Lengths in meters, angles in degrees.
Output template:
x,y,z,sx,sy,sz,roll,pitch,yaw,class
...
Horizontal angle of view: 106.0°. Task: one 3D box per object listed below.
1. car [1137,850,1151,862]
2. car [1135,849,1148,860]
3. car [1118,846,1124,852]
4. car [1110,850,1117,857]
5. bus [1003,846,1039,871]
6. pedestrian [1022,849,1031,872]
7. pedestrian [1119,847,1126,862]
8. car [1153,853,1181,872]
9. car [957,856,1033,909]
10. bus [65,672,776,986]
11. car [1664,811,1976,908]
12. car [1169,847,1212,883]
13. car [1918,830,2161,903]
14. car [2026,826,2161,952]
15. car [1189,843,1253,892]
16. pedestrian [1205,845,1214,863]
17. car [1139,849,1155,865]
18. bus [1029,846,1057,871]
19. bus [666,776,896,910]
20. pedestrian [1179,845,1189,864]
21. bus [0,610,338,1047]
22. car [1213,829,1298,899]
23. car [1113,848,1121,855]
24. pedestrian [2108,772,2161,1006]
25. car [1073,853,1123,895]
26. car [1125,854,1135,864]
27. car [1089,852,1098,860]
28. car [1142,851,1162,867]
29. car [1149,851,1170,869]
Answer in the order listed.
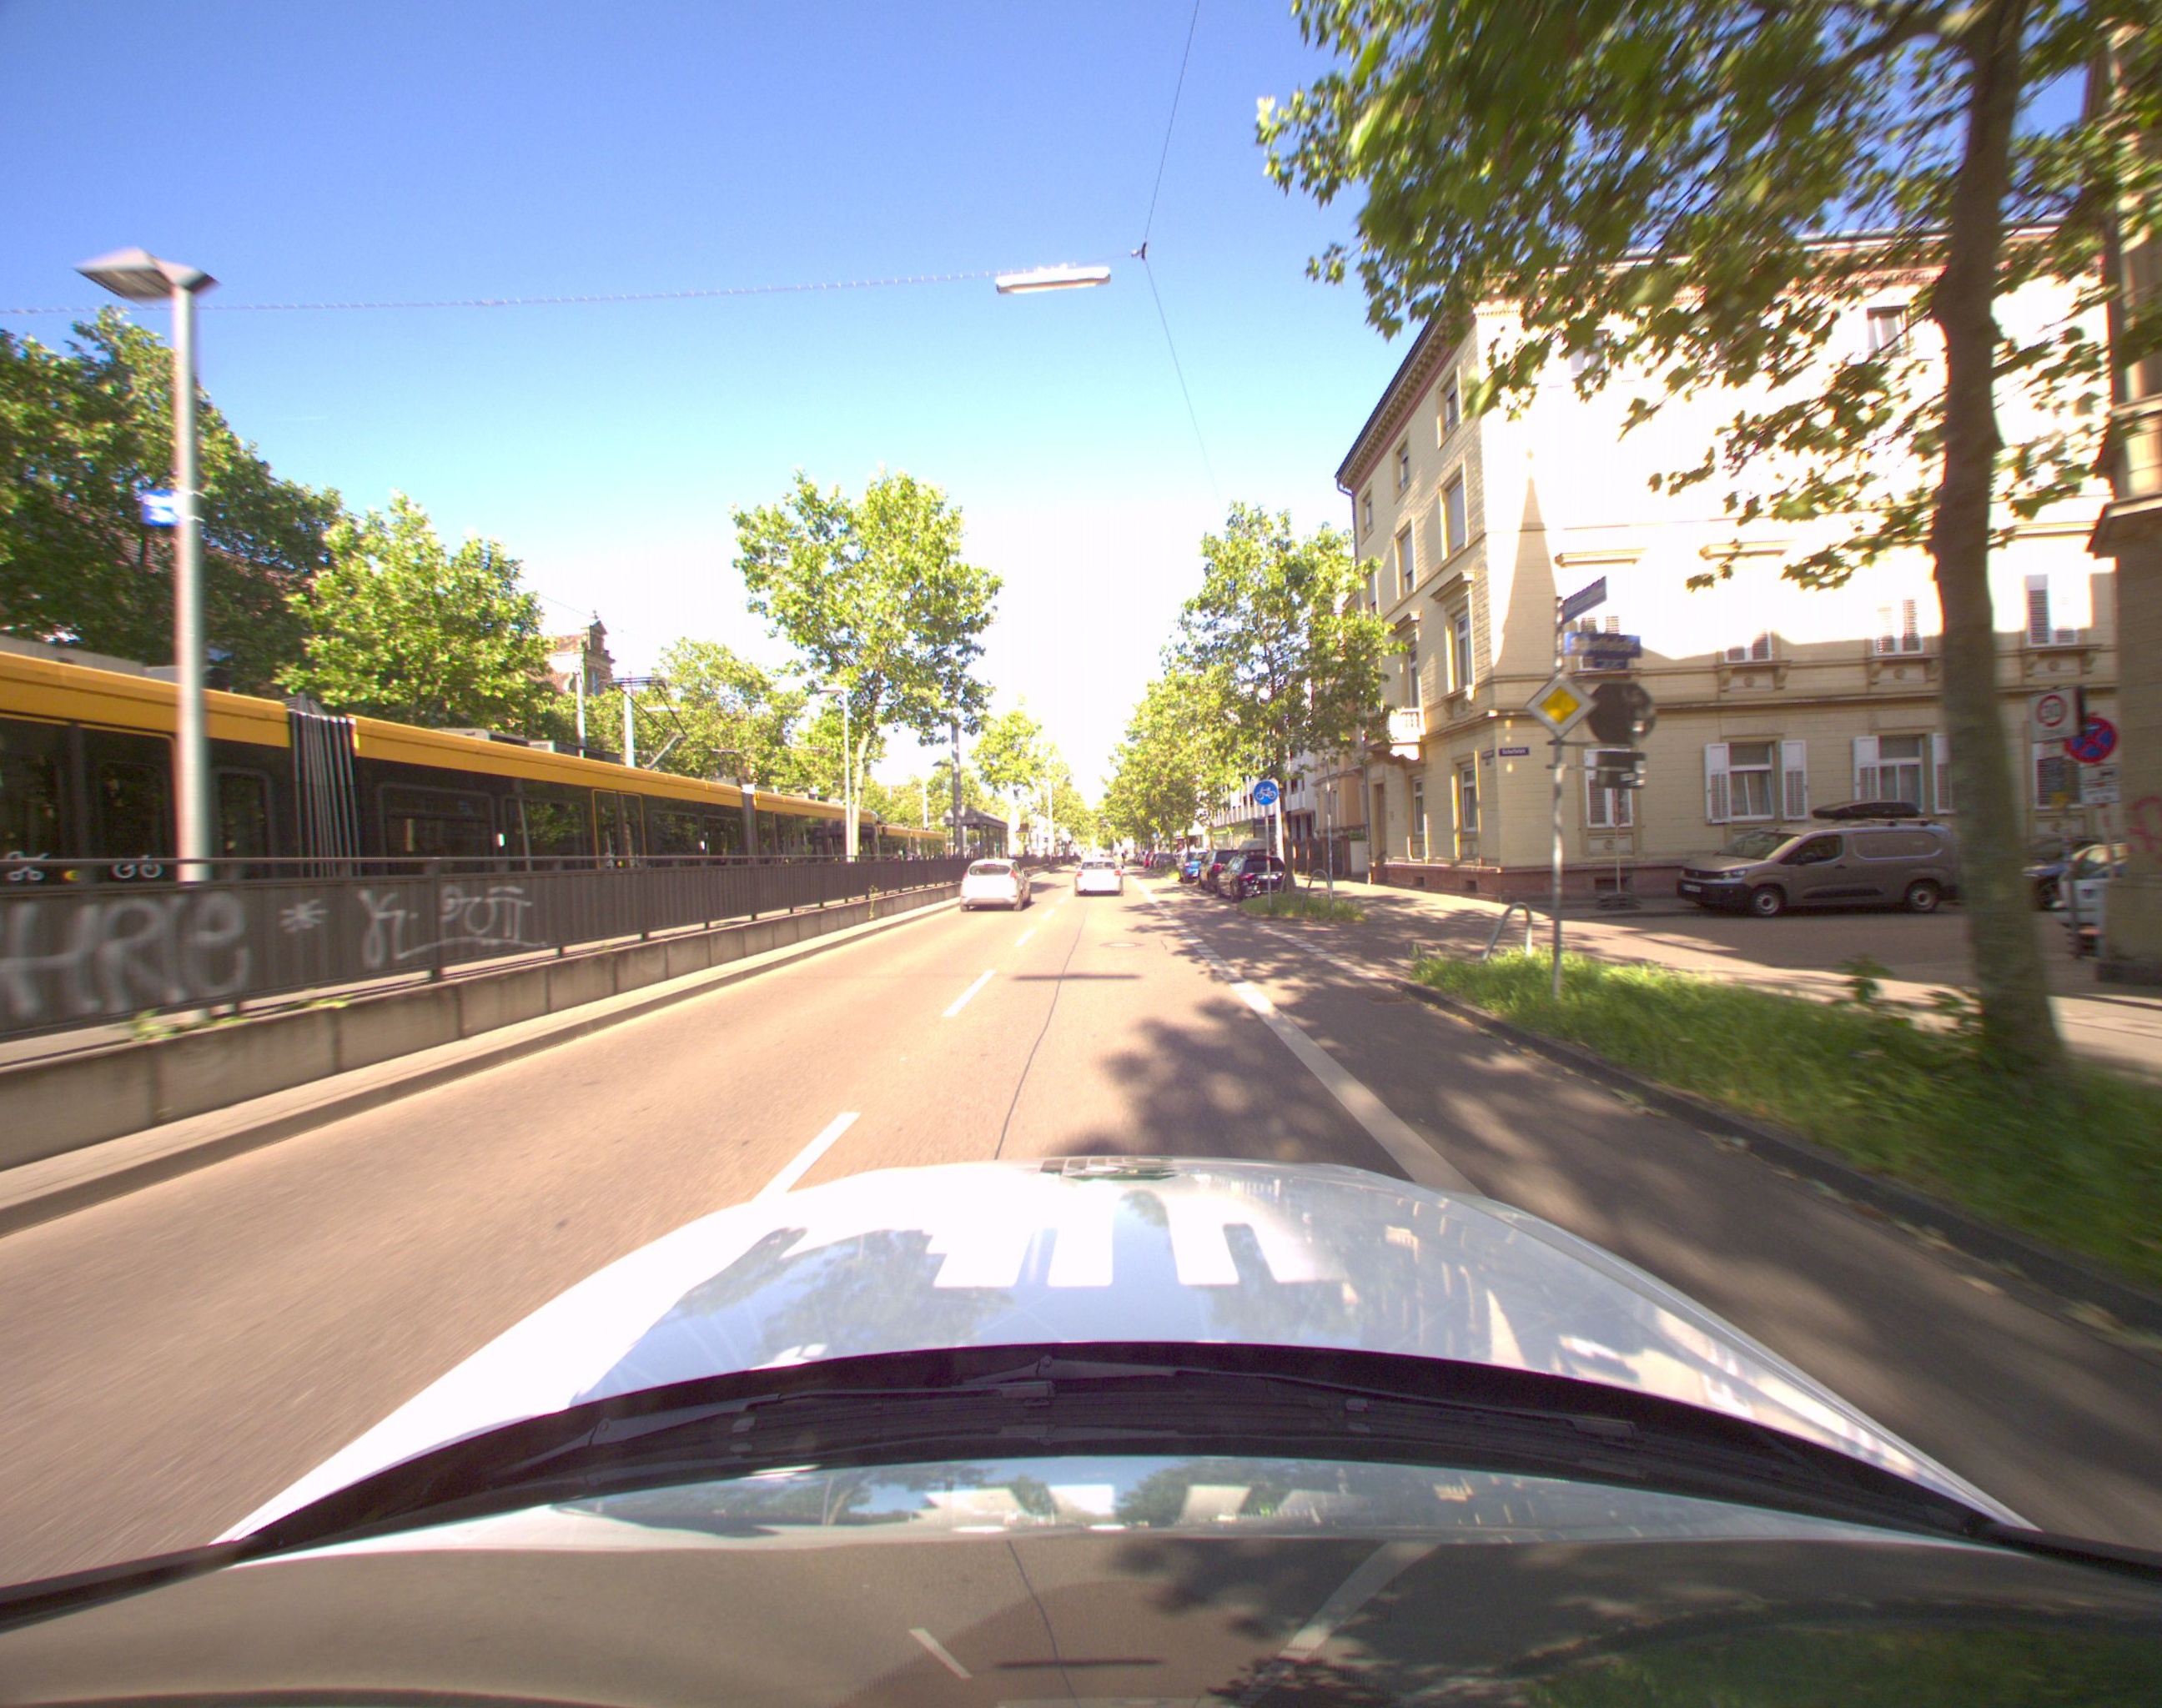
x,y,z,sx,sy,sz,roll,pitch,yaw,class
8.276,0.237,107.537,1.704,1.563,4.002,0,0,2,car
8.529,0.087,114.785,1.694,1.534,3.719,0,0,2,car
12.629,-1.515,254.895,1.868,2.013,3.713,0,0,2,car
9.756,-0.089,244.087,2.063,2.013,4.002,-1,0,2,car
-9.479,0.639,131.382,2.858,3.628,24.617,-2,0,2,bus
-4.712,0.585,70.389,0.636,1.954,0.814,0,0,2,pedestrian
5.293,0.067,104.891,0.833,2.013,0.650,0,0,9,pedestrian
7.100,0.721,67.355,1.986,1.509,4.600,0,-1,2,car
-2.390,0.767,23.450,1.640,1.363,3.762,0,0,2,car
-9.678,-0.287,15.199,2.858,3.444,12.221,-1,0,2,bus
15.126,0.107,16.909,4.561,1.773,1.924,-2,0,5,car
5.473,0.490,41.158,1.685,1.658,4.041,-2,1,2,car
20.365,0.233,16.687,4.349,1.347,1.848,-1,0,5,car
15.258,0.353,10.506,4.041,1.504,1.650,-2,0,3,car
5.362,0.481,31.737,1.791,1.700,4.739,-1,0,2,car
14.399,-0.030,91.271,0.785,2.013,0.891,-1,0,2,pedestrian
7.976,0.311,98.290,1.718,1.880,4.002,0,0,2,car
-5.868,0.616,130.309,2.739,3.625,18.857,-2,0,2,bus
-9.171,-0.300,27.120,2.858,3.444,11.617,-1,0,2,bus
11.056,0.061,87.176,0.960,2.013,0.939,-1,0,2,pedestrian
-10.097,-0.167,2.588,2.858,3.444,13.224,-1,0,2,bus
5.414,0.281,25.838,1.748,1.965,4.739,-2,0,2,car
10.230,-0.750,231.768,1.986,2.014,4.002,-2,-1,2,car
8.723,0.273,6.213,0.562,1.827,0.959,0,0,-1,pedestrian
0.632,0.713,30.761,1.756,1.432,4.001,0,0,1,car
10.785,1.073,178.771,1.986,2.013,4.002,0,0,2,car
3.187,0.383,208.027,1.986,2.013,4.002,0,0,2,car
7.215,0.542,82.691,1.799,1.520,4.002,0,-1,2,car
7.004,0.552,72.663,1.663,1.551,4.002,0,0,2,car
